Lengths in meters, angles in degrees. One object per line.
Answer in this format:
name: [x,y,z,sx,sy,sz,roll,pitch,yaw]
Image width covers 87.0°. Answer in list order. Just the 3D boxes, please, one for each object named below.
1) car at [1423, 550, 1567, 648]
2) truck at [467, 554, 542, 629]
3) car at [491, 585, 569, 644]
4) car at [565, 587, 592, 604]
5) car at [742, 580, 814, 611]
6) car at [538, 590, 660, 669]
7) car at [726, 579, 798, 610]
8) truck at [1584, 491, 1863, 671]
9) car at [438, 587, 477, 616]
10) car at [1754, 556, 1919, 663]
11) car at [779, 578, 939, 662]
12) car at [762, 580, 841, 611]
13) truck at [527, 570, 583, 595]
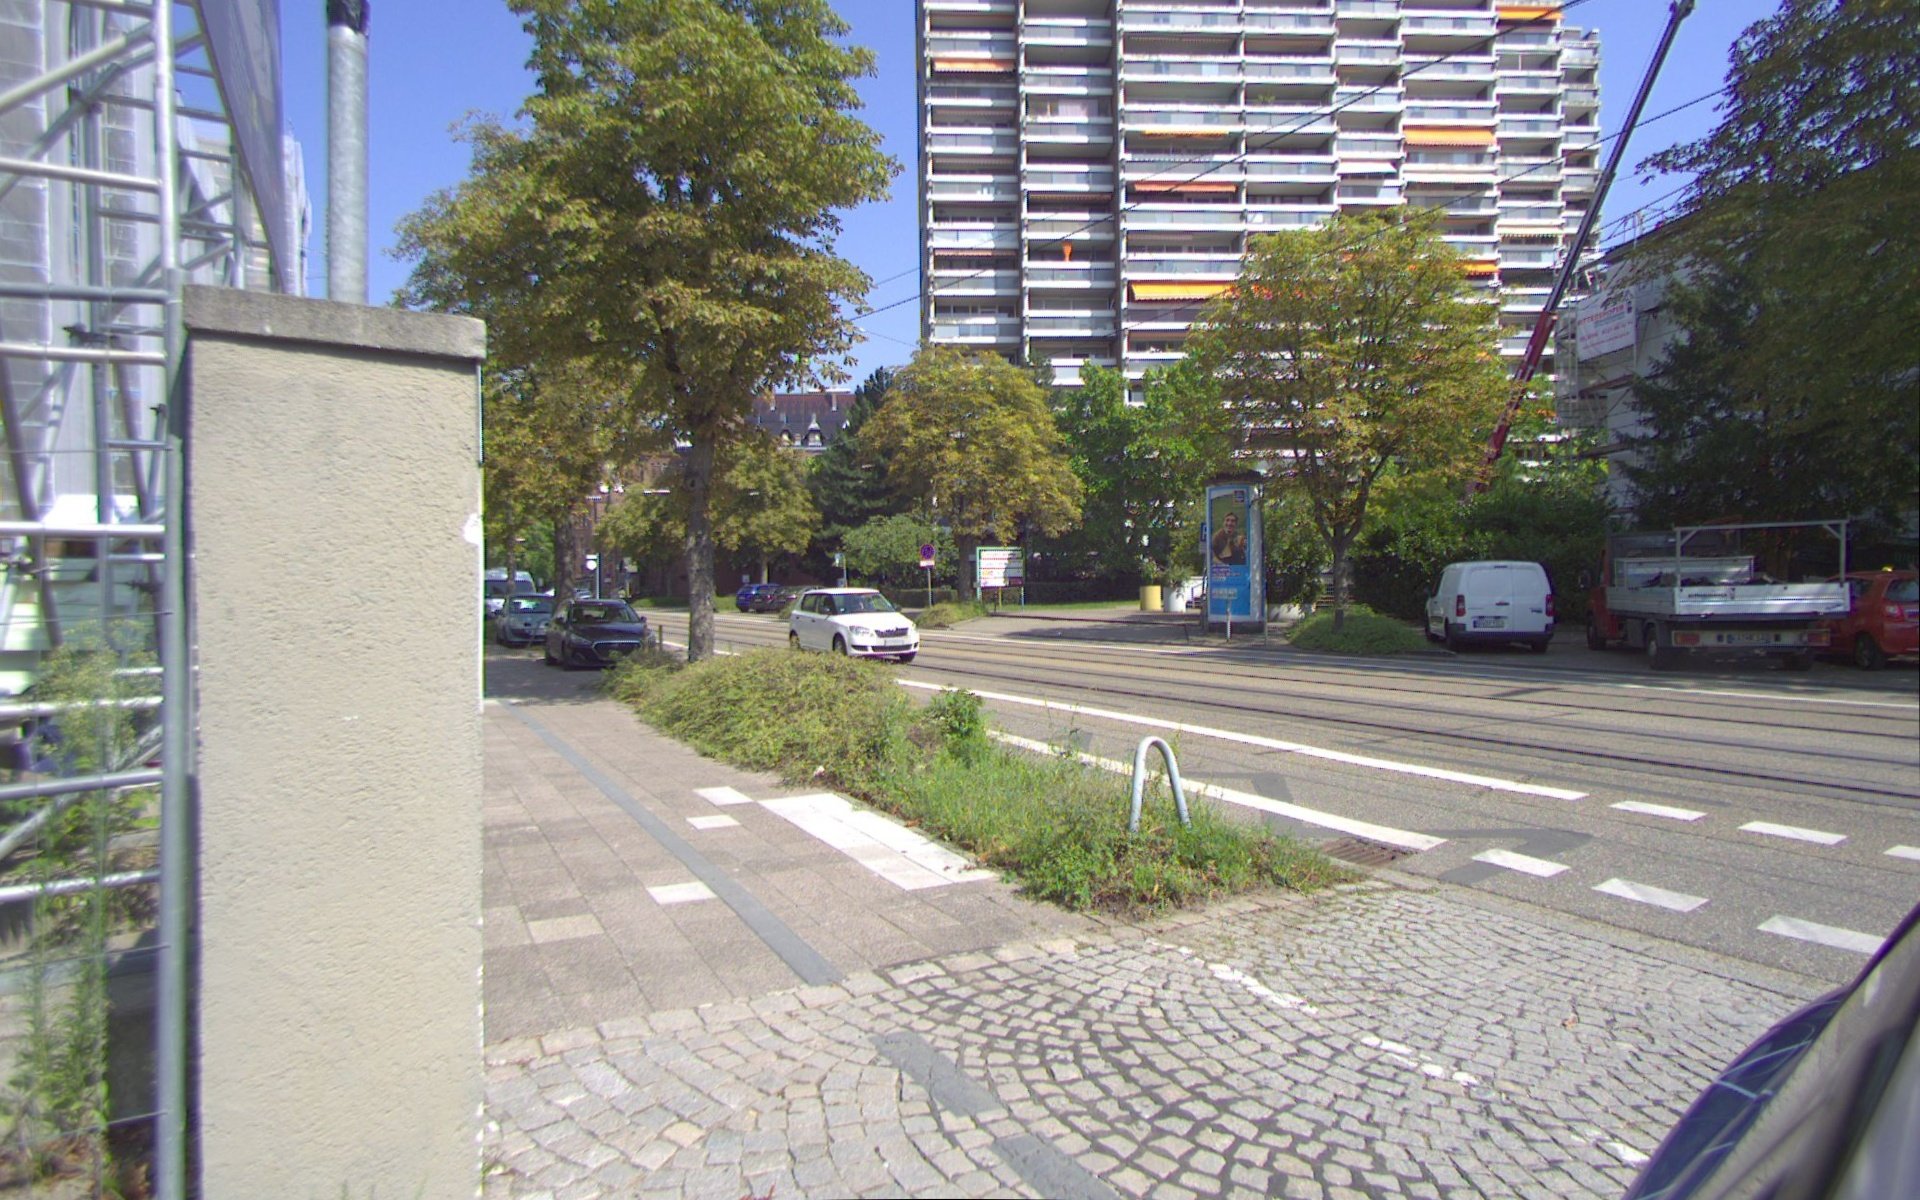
car: [10.892,-0.055,20.911,1.800,1.794,4.263,-1,1,17]
truck: [-17.456,-0.356,38.622,1.885,2.631,5.597,-2,2,-31]
car: [-12.896,0.376,30.216,1.646,1.599,4.176,0,1,-30]
car: [-37.259,-0.472,98.716,1.902,1.520,4.520,-2,1,-27]
car: [-10.134,-0.271,56.532,1.767,1.589,3.954,-1,1,33]
car: [-7.754,0.538,21.470,1.646,1.476,4.668,-1,1,-30]
car: [-11.638,-0.348,59.581,1.831,1.668,3.948,-1,1,37]
truck: [12.432,-0.323,17.061,2.124,2.465,5.929,0,1,21]
car: [-28.063,0.085,56.425,1.657,1.519,4.135,-2,0,-30]
car: [14.552,0.089,16.101,1.697,1.527,3.841,0,1,16]
car: [-2.194,0.347,21.039,1.789,1.510,4.023,-2,2,-30]
car: [-8.417,-0.242,54.117,1.768,1.515,4.245,-1,1,34]
truck: [-53.348,-2.319,133.441,6.391,2.554,2.320,-7,3,-30]
